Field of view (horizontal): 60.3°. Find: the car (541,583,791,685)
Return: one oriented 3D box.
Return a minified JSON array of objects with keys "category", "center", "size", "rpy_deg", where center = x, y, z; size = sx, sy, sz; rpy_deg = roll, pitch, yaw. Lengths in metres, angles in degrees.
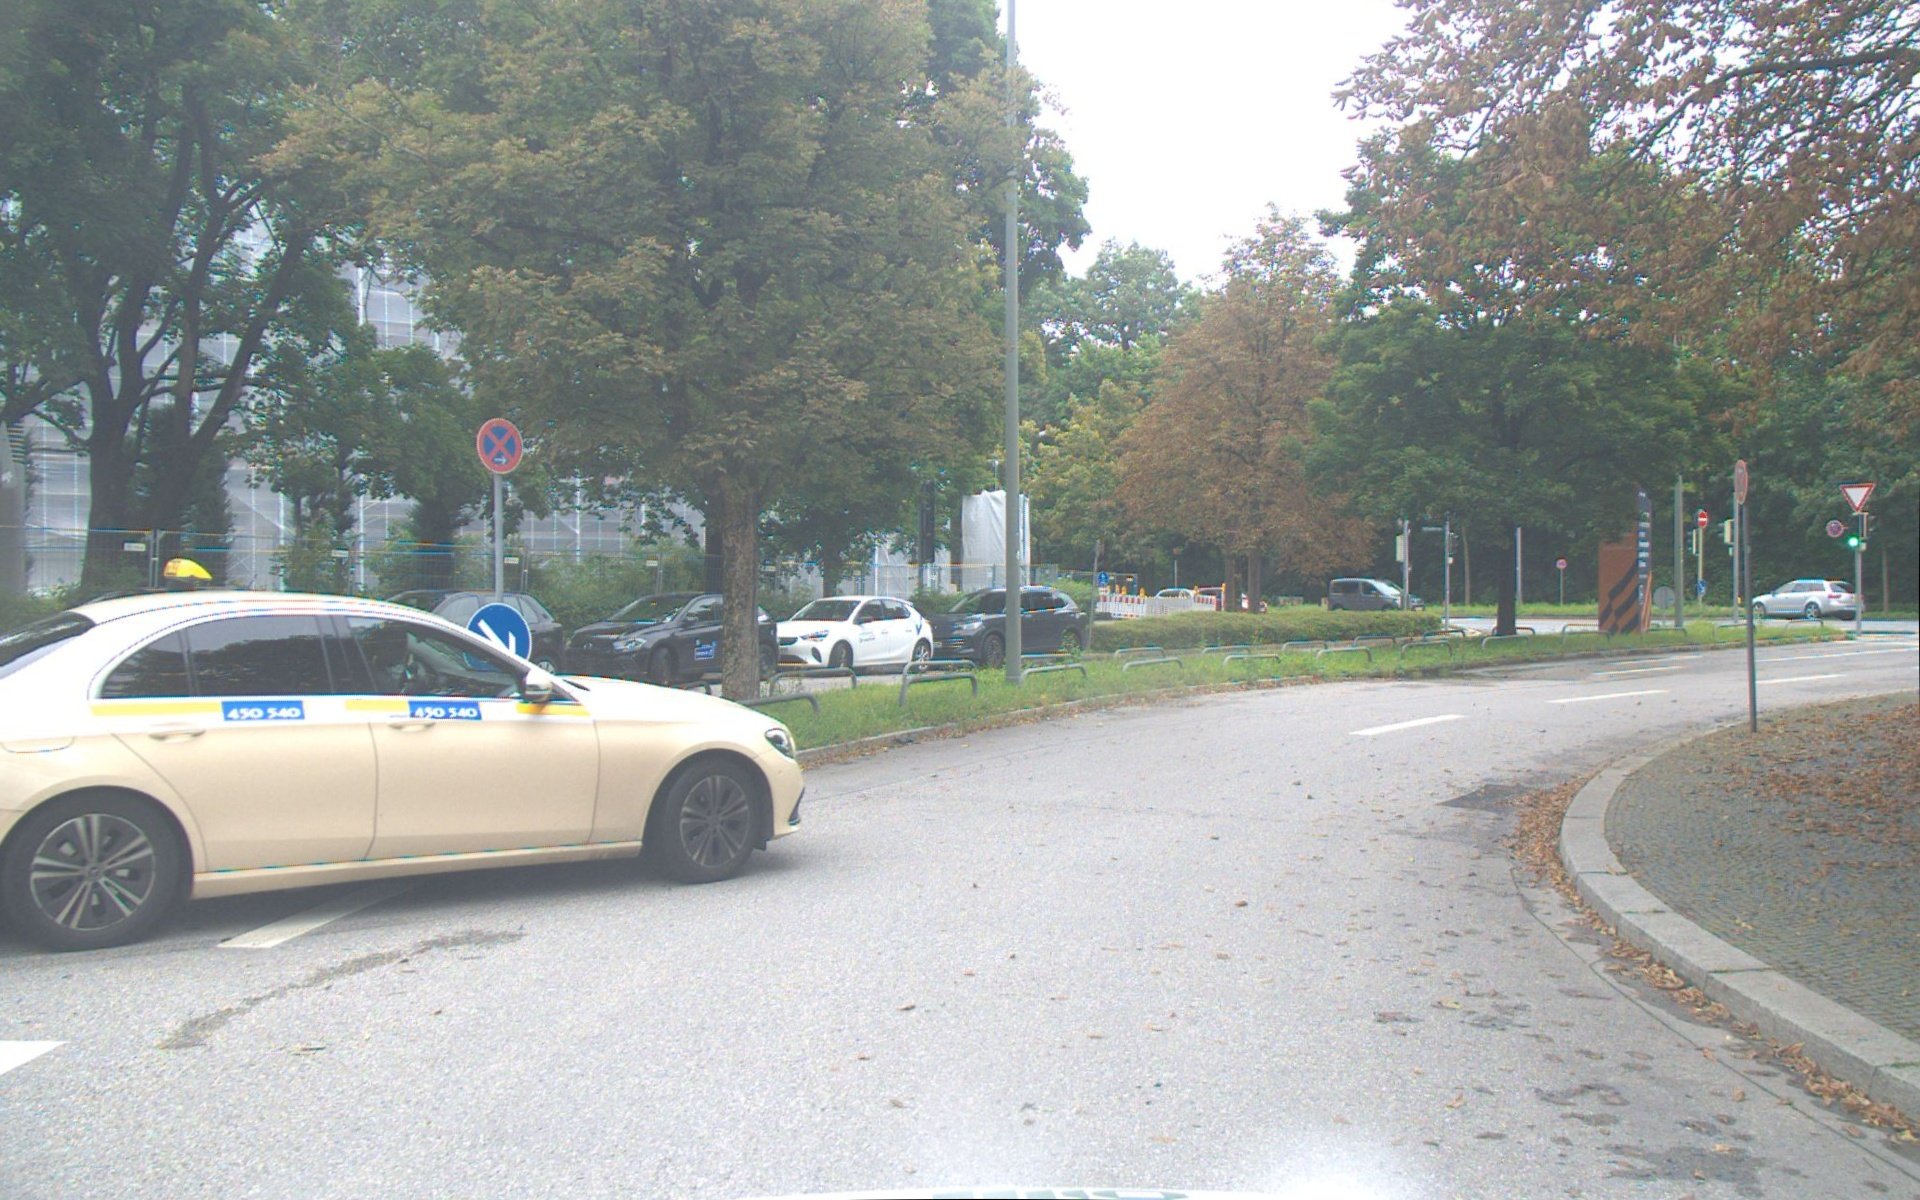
[{"category":"car","center":[-4.586,0.510,26.357],"size":[1.800,1.486,3.999],"rpy_deg":[-1,0,29]}]

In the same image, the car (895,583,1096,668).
[{"category":"car","center":[0.802,0.552,34.209],"size":[1.857,1.634,4.372],"rpy_deg":[-1,-2,40]}]

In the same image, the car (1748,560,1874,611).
[{"category":"car","center":[31.246,-0.529,60.852],"size":[1.960,1.780,4.110],"rpy_deg":[0,0,-14]}]

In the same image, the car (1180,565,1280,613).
[{"category":"car","center":[11.967,-0.491,73.396],"size":[1.982,2.049,4.095],"rpy_deg":[0,0,-41]}]

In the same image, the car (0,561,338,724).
[{"category":"car","center":[-9.132,0.406,18.173],"size":[1.956,1.568,3.993],"rpy_deg":[0,0,29]}]

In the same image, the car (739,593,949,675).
[{"category":"car","center":[-2.059,0.586,30.608],"size":[1.763,1.408,4.208],"rpy_deg":[-1,0,32]}]

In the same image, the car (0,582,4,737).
[{"category":"car","center":[-10.855,0.545,14.323],"size":[1.956,1.457,4.035],"rpy_deg":[2,1,30]}]

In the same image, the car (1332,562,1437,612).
[{"category":"car","center":[18.022,-0.541,70.287],"size":[1.982,2.049,3.940],"rpy_deg":[0,0,-41]}]

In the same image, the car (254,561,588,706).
[{"category":"car","center":[-7.070,0.409,22.091],"size":[1.956,1.736,3.993],"rpy_deg":[-1,0,29]}]

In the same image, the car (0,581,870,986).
[{"category":"car","center":[-2.943,0.702,8.165],"size":[4.800,1.572,1.869],"rpy_deg":[0,0,-37]}]
